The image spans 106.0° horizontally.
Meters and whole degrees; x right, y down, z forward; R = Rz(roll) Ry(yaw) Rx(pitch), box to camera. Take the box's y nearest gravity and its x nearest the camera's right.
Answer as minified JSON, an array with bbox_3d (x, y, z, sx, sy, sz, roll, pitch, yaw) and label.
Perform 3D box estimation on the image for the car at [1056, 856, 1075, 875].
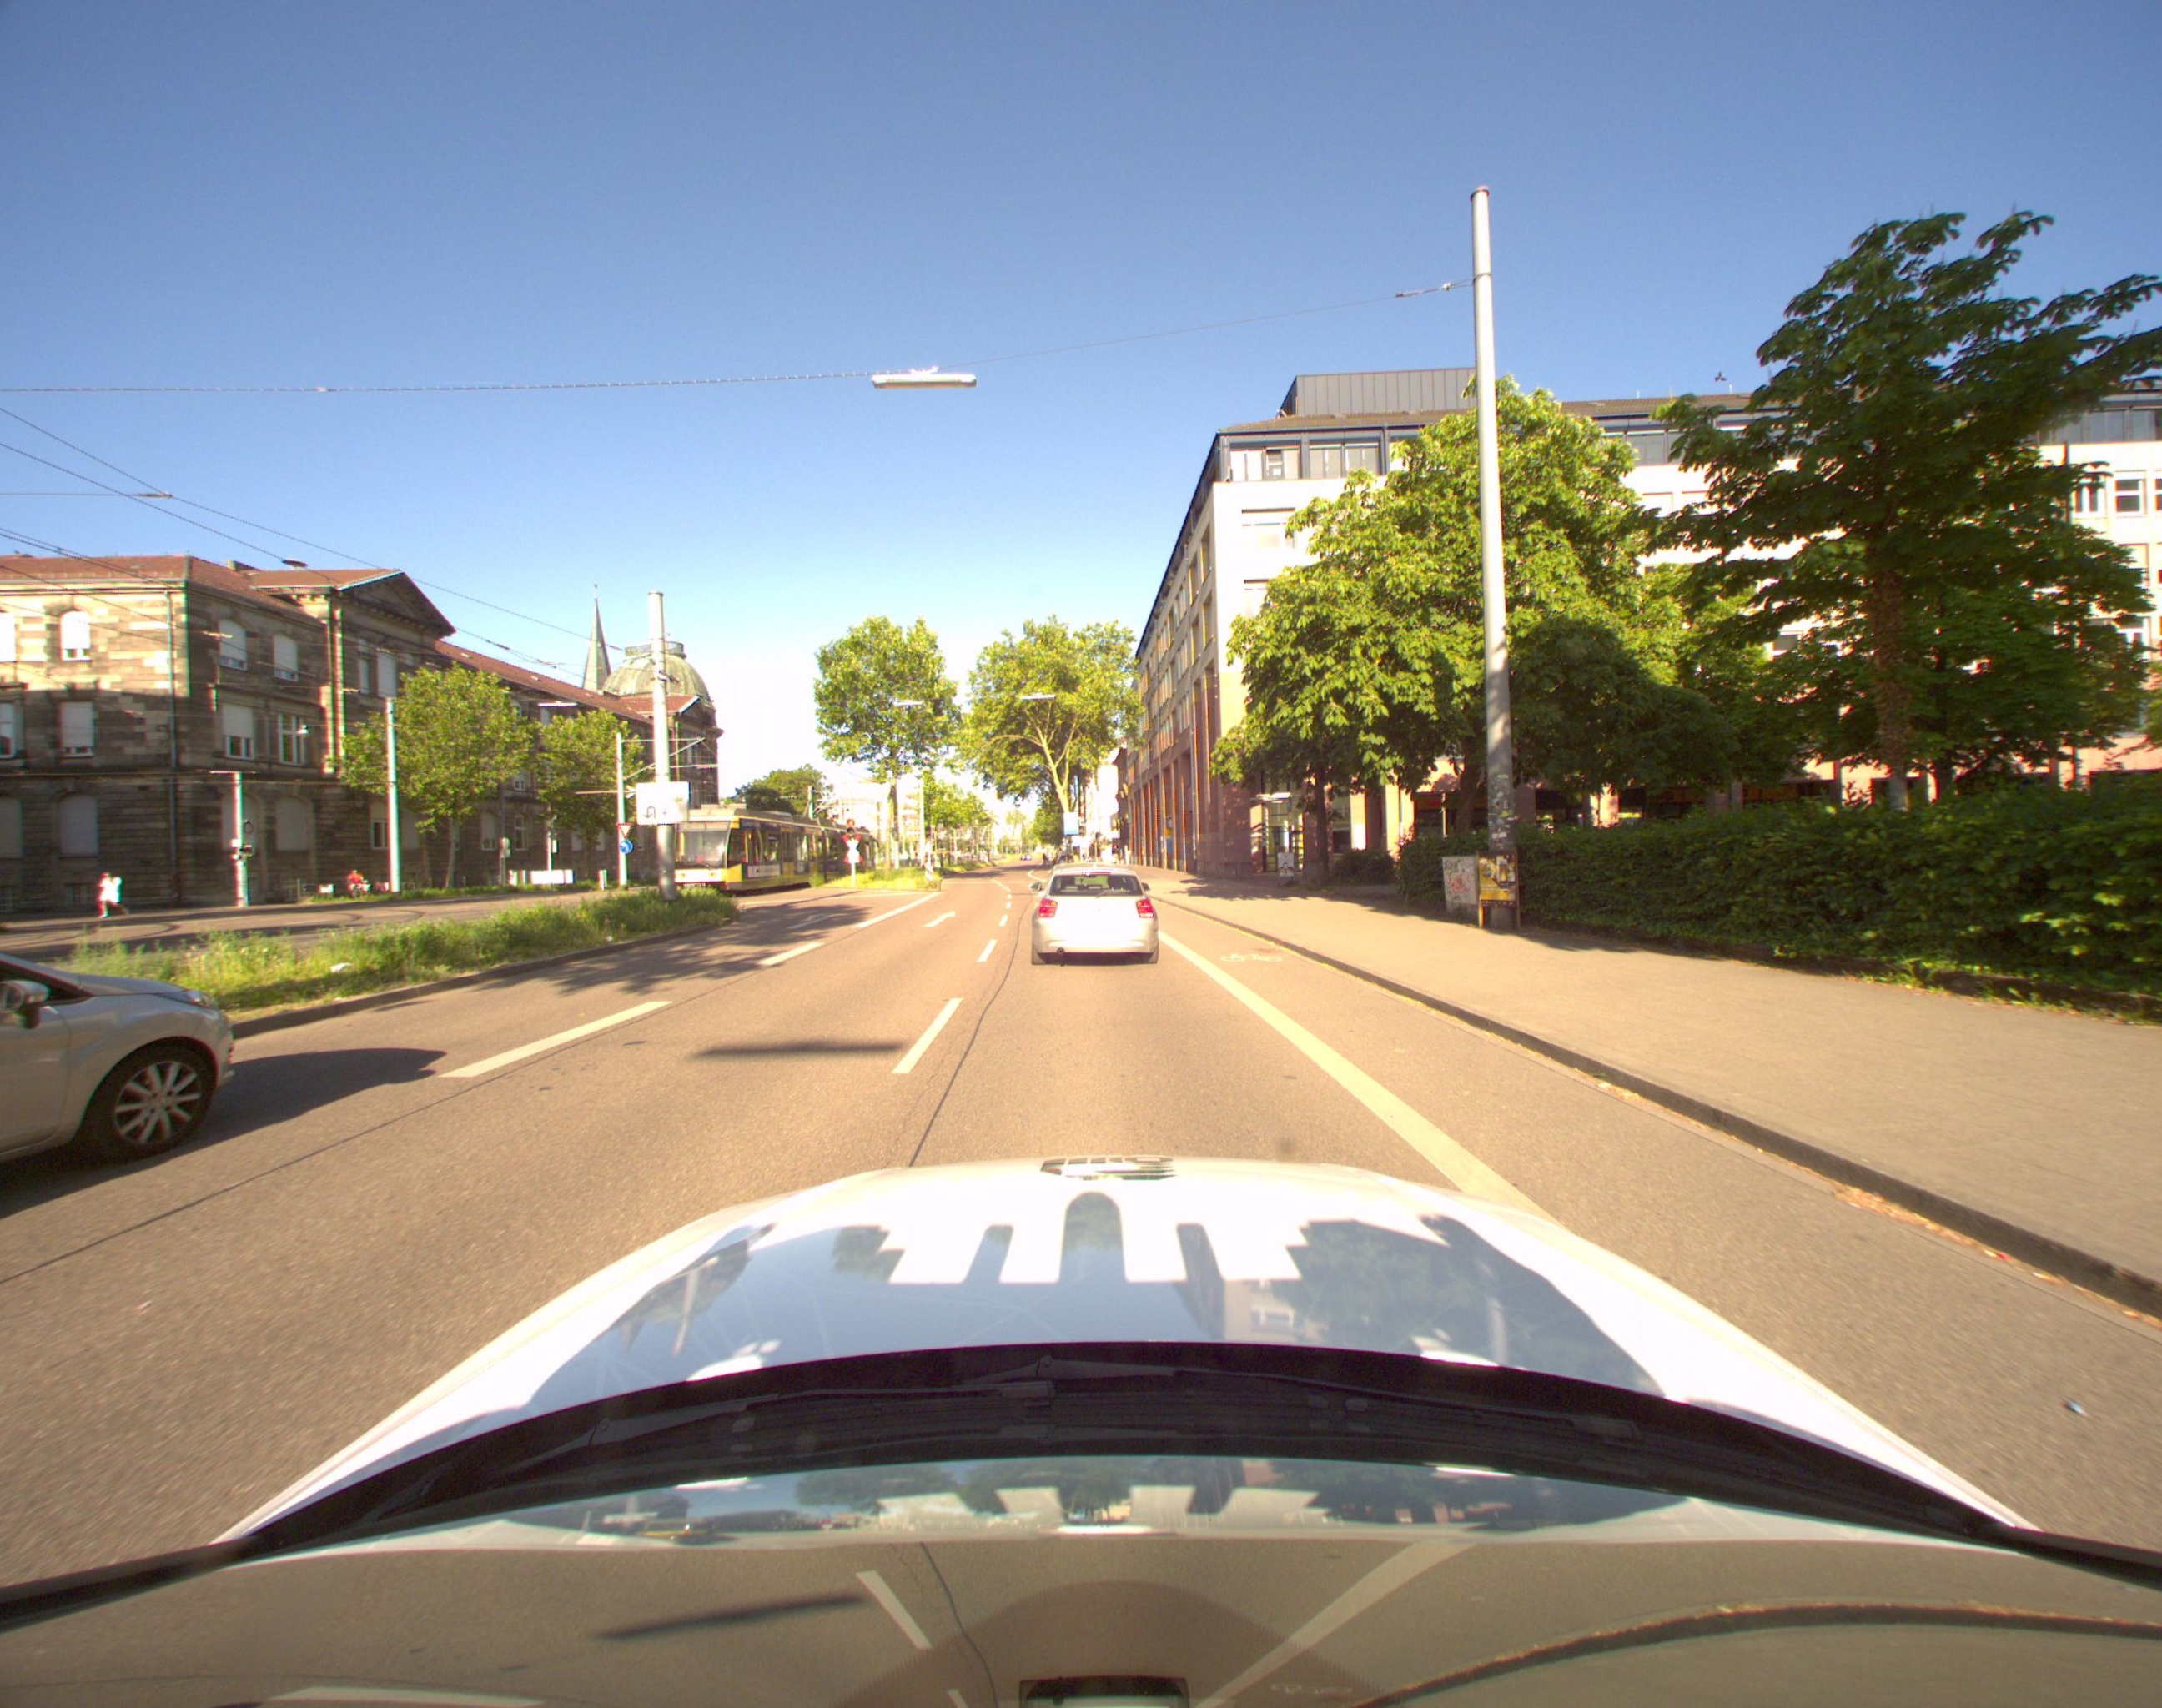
[{"bbox_3d":[-1.343,0.996,72.572,1.663,1.570,4.278,0,0,-1],"label":"car"}]

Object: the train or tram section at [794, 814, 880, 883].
[{"bbox_3d":[-15.113,-0.274,51.498,2.947,3.897,10.785,0,0,-4],"label":"train or tram section"}]

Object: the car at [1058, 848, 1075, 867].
[{"bbox_3d":[-1.610,0.395,89.119,1.851,2.014,4.720,0,0,-2],"label":"car"}]

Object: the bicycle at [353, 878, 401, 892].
[{"bbox_3d":[-38.454,1.665,44.521,1.907,0.722,0.521,0,0,-30],"label":"bicycle"}]

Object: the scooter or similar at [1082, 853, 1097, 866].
[{"bbox_3d":[0.849,0.519,81.955,1.536,1.237,0.448,-2,0,-2],"label":"scooter or similar"}]

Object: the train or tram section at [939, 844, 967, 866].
[{"bbox_3d":[-22.543,0.135,144.301,2.957,3.483,21.189,0,0,-4],"label":"train or tram section"}]

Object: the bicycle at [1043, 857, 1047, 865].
[{"bbox_3d":[-4.810,0.970,109.458,0.498,1.088,1.995,0,0,-2],"label":"bicycle"}]

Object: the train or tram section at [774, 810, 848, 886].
[{"bbox_3d":[-14.572,-0.300,44.207,2.950,3.897,3.859,0,0,-5],"label":"train or tram section"}]

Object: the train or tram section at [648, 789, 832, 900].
[{"bbox_3d":[-13.916,-0.298,35.195,2.923,3.812,14.250,0,0,-4],"label":"train or tram section"}]

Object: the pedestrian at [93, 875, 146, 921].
[{"bbox_3d":[-38.273,1.740,32.425,0.860,1.800,1.002,0,0,-1],"label":"pedestrian"}]

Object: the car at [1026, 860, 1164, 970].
[{"bbox_3d":[0.193,0.814,12.613,1.792,1.415,4.000,0,0,0],"label":"car"}]

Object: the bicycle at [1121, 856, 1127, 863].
[{"bbox_3d":[5.194,0.669,98.209,0.547,0.773,1.661,-3,0,-2],"label":"bicycle"}]

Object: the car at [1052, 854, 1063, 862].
[{"bbox_3d":[-4.567,0.774,155.435,2.033,1.509,4.590,-2,0,-2],"label":"car"}]

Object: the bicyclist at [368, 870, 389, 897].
[{"bbox_3d":[-38.403,1.602,44.537,0.732,1.462,0.789,0,-1,-30],"label":"bicyclist"}]

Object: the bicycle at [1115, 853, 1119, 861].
[{"bbox_3d":[4.655,0.386,105.625,0.413,0.997,1.881,-1,0,-2],"label":"bicycle"}]

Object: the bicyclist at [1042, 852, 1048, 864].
[{"bbox_3d":[-4.795,0.513,109.537,0.783,1.531,0.894,0,0,-2],"label":"bicyclist"}]

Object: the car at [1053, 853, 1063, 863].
[{"bbox_3d":[-4.180,0.720,147.860,1.690,1.502,3.798,-4,1,-2],"label":"car"}]

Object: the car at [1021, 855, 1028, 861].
[{"bbox_3d":[-14.018,0.900,202.878,1.723,1.470,4.403,-1,0,-5],"label":"car"}]

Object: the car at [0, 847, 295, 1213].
[{"bbox_3d":[-5.500,0.767,2.989,1.659,1.595,3.857,0,0,-5],"label":"car"}]
